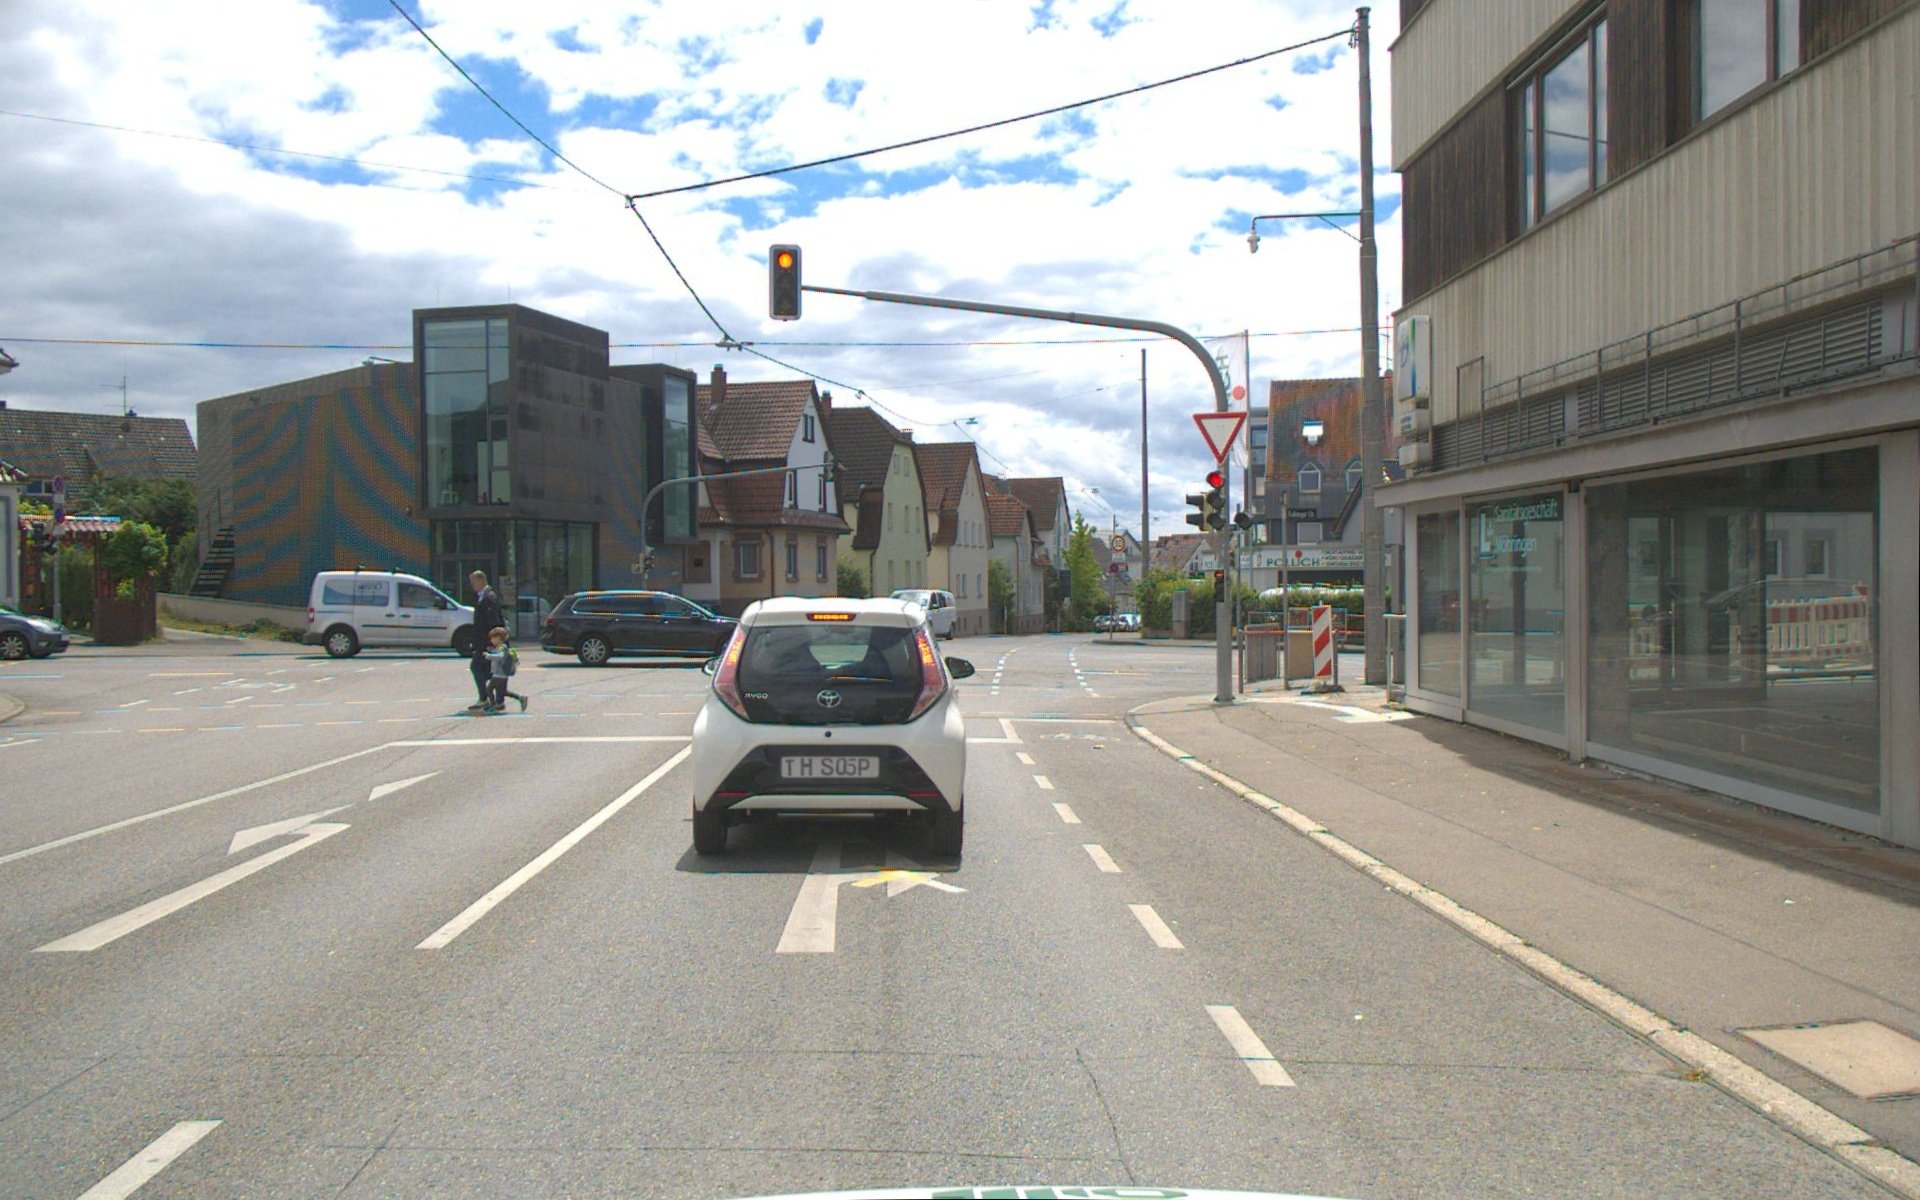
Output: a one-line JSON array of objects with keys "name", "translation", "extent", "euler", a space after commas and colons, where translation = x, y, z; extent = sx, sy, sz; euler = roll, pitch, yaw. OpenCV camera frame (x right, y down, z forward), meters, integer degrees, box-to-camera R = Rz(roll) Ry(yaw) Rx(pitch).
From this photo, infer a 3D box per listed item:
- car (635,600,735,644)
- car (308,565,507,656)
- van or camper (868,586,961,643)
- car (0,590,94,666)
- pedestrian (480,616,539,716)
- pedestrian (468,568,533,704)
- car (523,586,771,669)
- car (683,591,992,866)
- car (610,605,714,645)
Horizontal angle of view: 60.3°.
[{"name": "car", "translation": [-10.960, 0.868, 65.932], "extent": [3.537, 1.633, 1.693], "euler": [1, 0, 10]}, {"name": "car", "translation": [-12.065, 0.234, 36.416], "extent": [3.993, 1.881, 1.992], "euler": [1, 0, -16]}, {"name": "van or camper", "translation": [-1.610, 0.527, 61.039], "extent": [2.070, 1.959, 5.289], "euler": [1, 0, 13]}, {"name": "car", "translation": [-20.546, 0.552, 34.597], "extent": [3.921, 1.512, 1.992], "euler": [1, 0, -16]}, {"name": "pedestrian", "translation": [-5.775, 0.838, 21.190], "extent": [0.721, 1.243, 0.643], "euler": [0, 0, -17]}, {"name": "pedestrian", "translation": [-6.056, 0.464, 21.792], "extent": [0.809, 1.751, 0.814], "euler": [0, 0, -16]}, {"name": "car", "translation": [-6.323, 0.552, 33.764], "extent": [4.806, 1.605, 1.996], "euler": [1, 0, -9]}, {"name": "car", "translation": [-0.753, 0.710, 10.715], "extent": [1.663, 1.482, 3.297], "euler": [1, 0, -3]}, {"name": "car", "translation": [-11.480, 0.949, 63.795], "extent": [3.537, 1.444, 1.693], "euler": [1, 0, 10]}]
